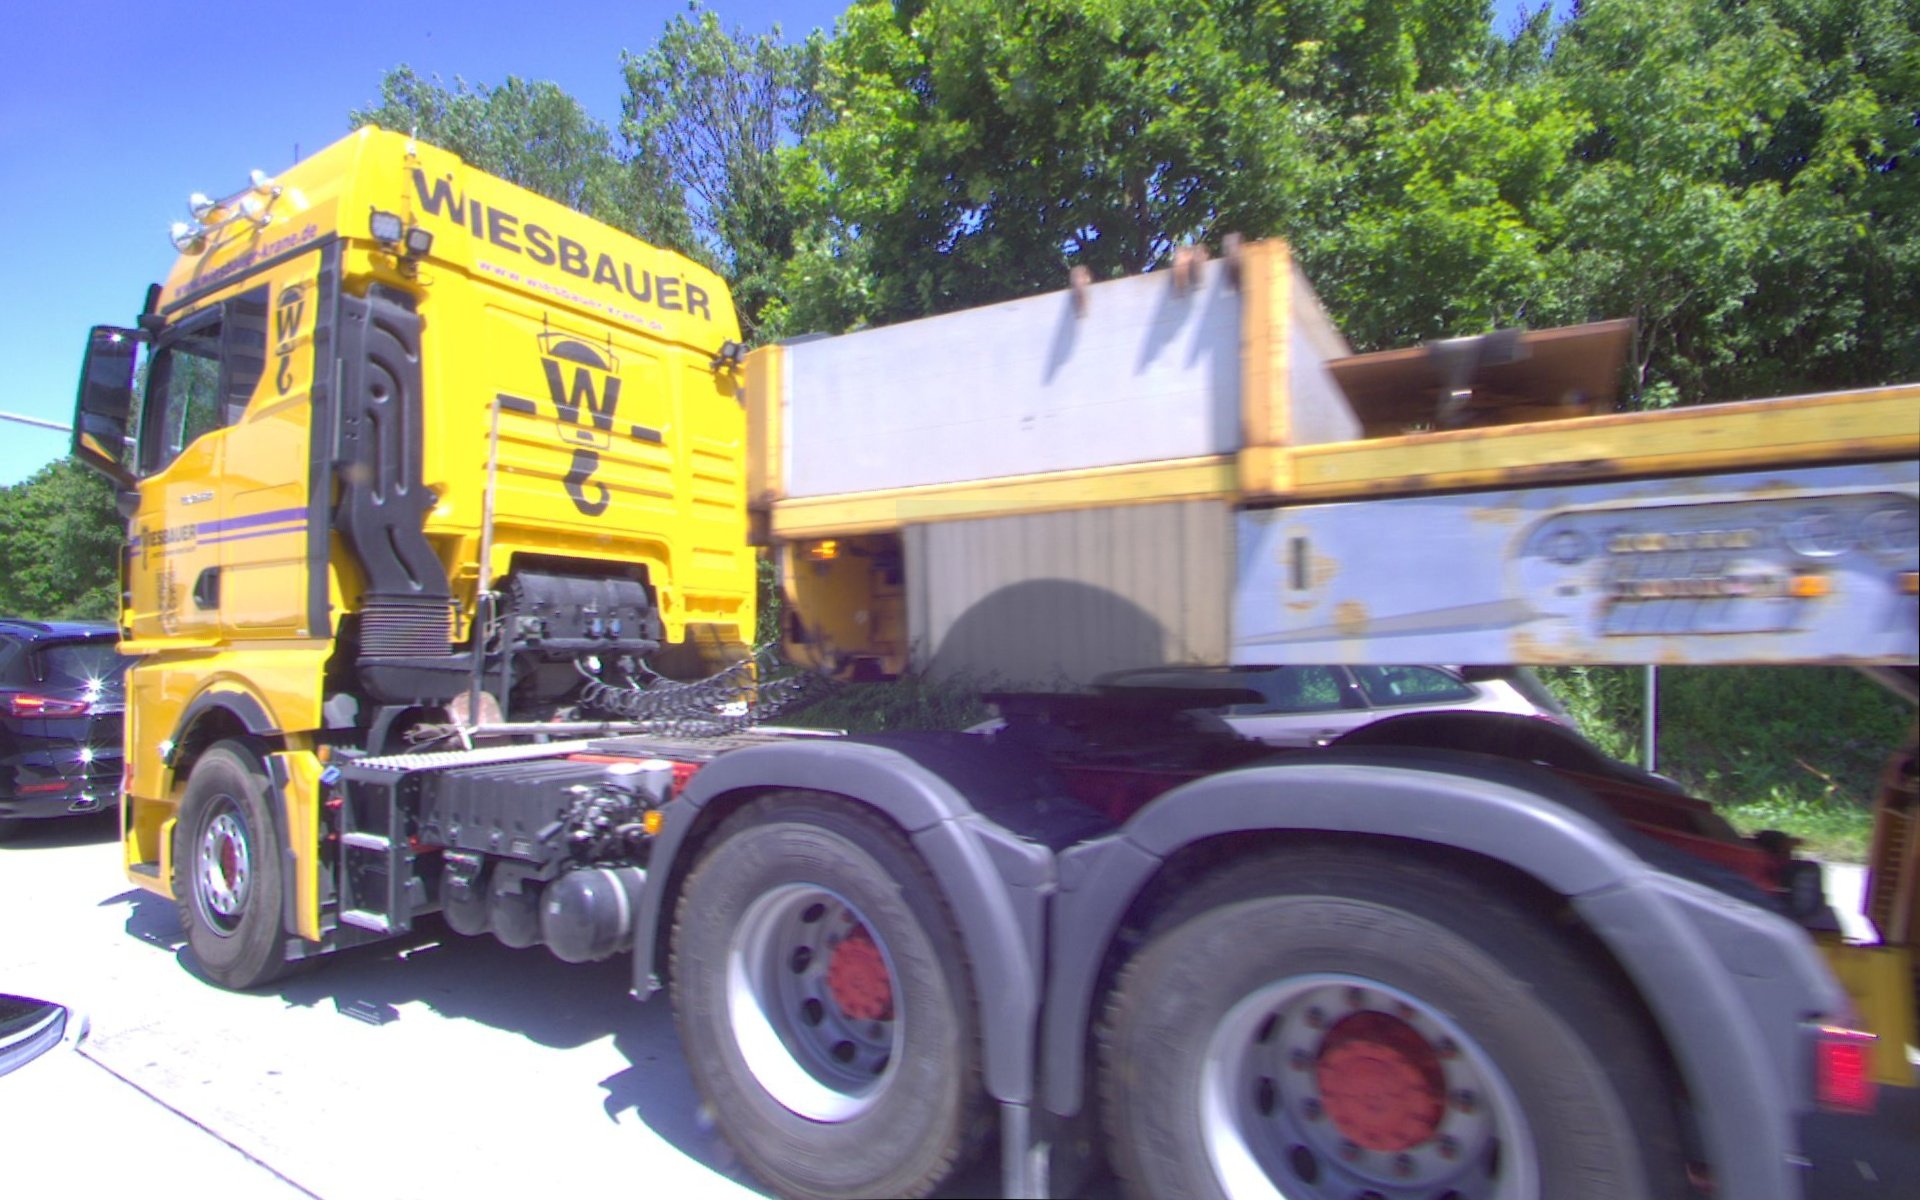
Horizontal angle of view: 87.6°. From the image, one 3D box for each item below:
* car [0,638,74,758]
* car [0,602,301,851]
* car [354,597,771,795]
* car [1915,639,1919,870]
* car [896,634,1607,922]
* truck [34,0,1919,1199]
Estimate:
[{"bbox_3d":[-13.459,1.230,13.134,4.549,1.428,1.763,-2,-2,35],"label":"car"},{"bbox_3d":[-7.800,0.933,8.694,4.582,1.660,1.780,-2,-2,33],"label":"car"},{"bbox_3d":[-4.520,0.978,11.193,4.720,1.830,1.766,-2,-2,29],"label":"car"},{"bbox_3d":[6.995,0.887,3.811,4.530,1.480,1.766,-1,-2,30],"label":"car"},{"bbox_3d":[1.838,0.997,6.964,4.297,1.480,1.767,-2,-2,28],"label":"car"},{"bbox_3d":[-0.533,-0.330,4.220,7.361,3.820,3.010,-1,-2,31],"label":"truck"}]
